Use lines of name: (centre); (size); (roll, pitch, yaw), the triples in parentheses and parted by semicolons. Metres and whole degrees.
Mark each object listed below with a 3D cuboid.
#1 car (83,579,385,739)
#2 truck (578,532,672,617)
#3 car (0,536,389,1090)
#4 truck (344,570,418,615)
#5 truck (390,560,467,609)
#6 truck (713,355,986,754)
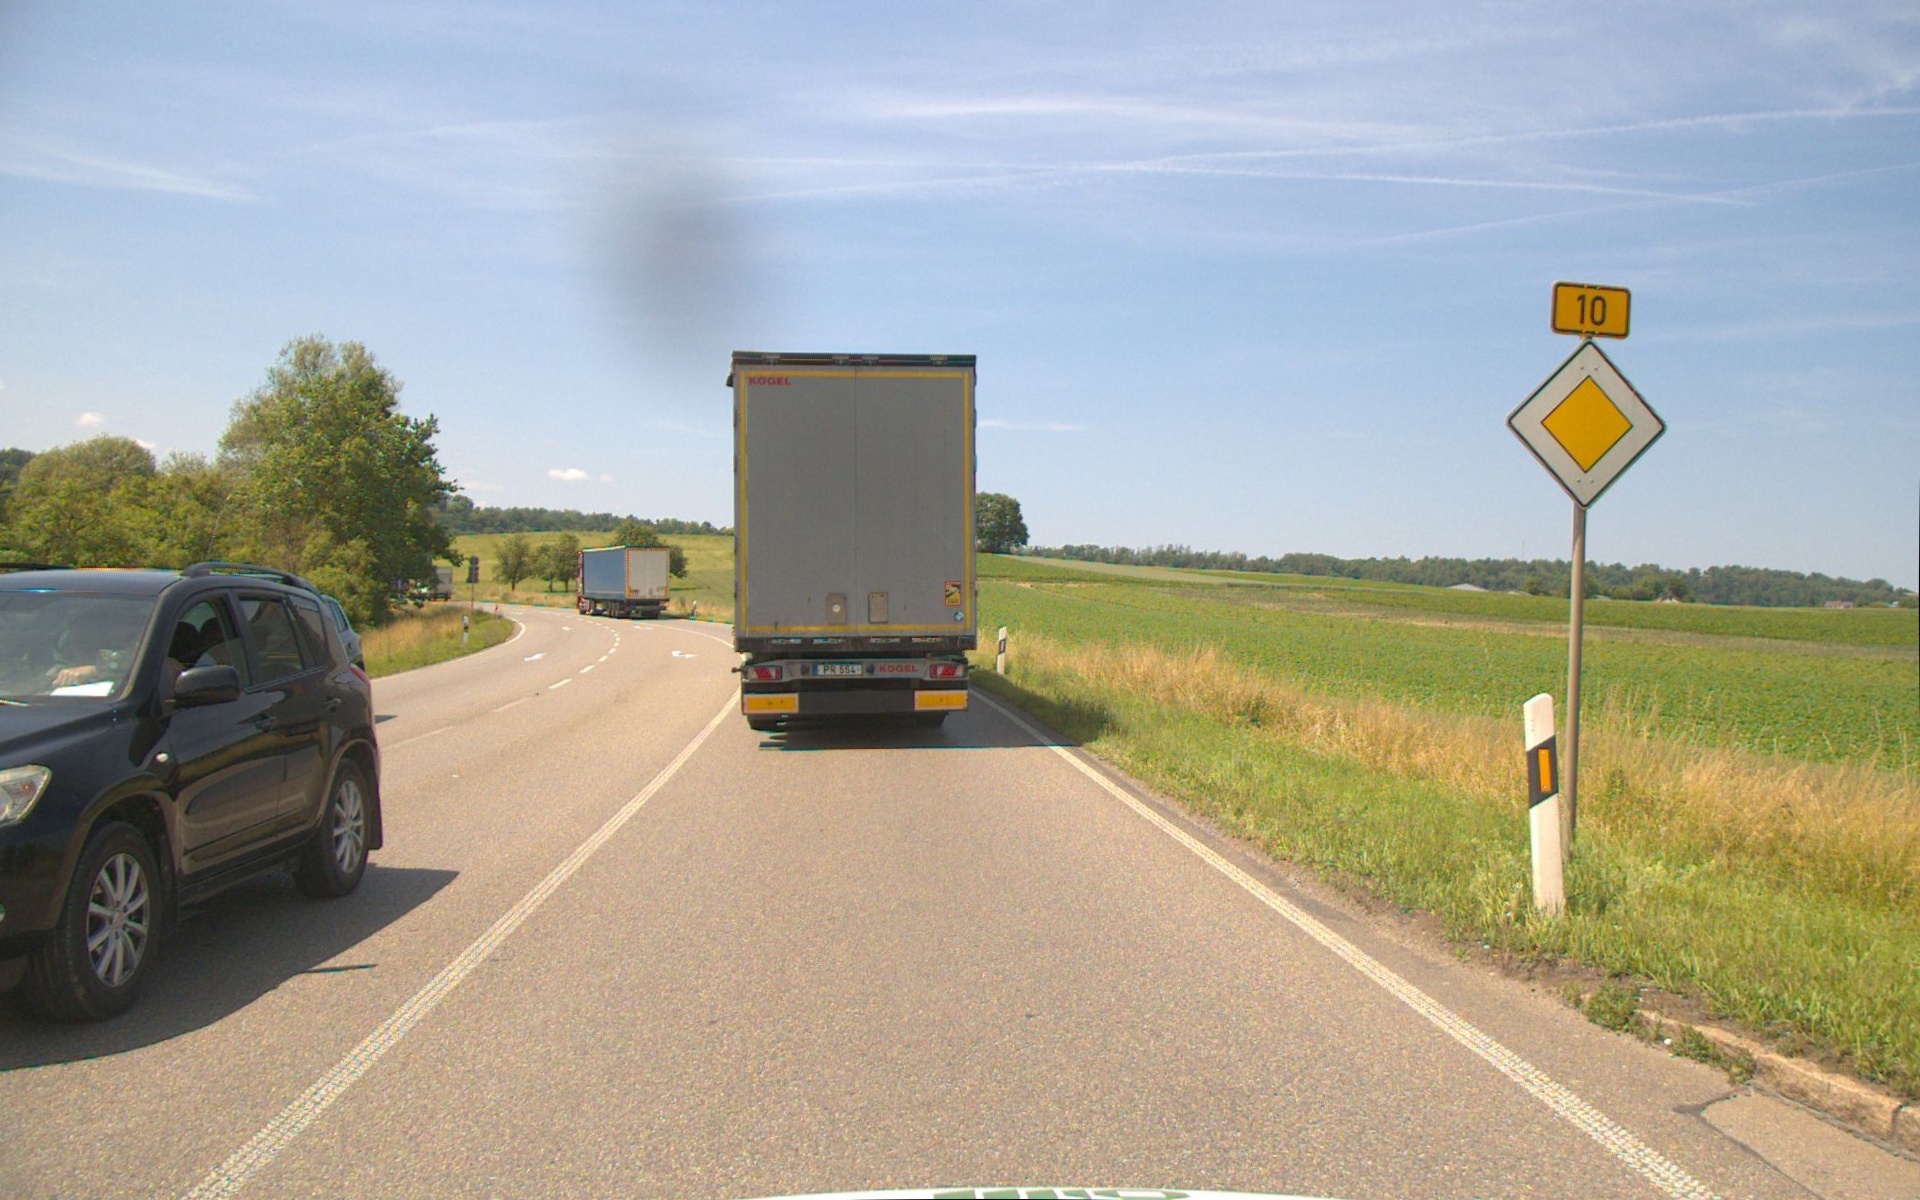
car: (-8.574, 0.669, 19.969); (1.953, 1.725, 3.999); (0, -1, -1)
truck: (-20.449, -1.383, 99.990); (2.918, 4.664, 16.213); (1, -1, -21)
car: (-3.873, 0.671, 6.982); (1.736, 1.687, 3.997); (0, -1, -4)
truck: (-59.224, -0.672, 168.843); (3.501, 4.315, 13.235); (3, -2, -36)
truck: (-50.091, -1.346, 155.662); (3.603, 4.202, 12.947); (2, -2, -33)
truck: (-1.747, -0.476, 21.587); (2.755, 4.015, 9.573); (0, 0, -8)
